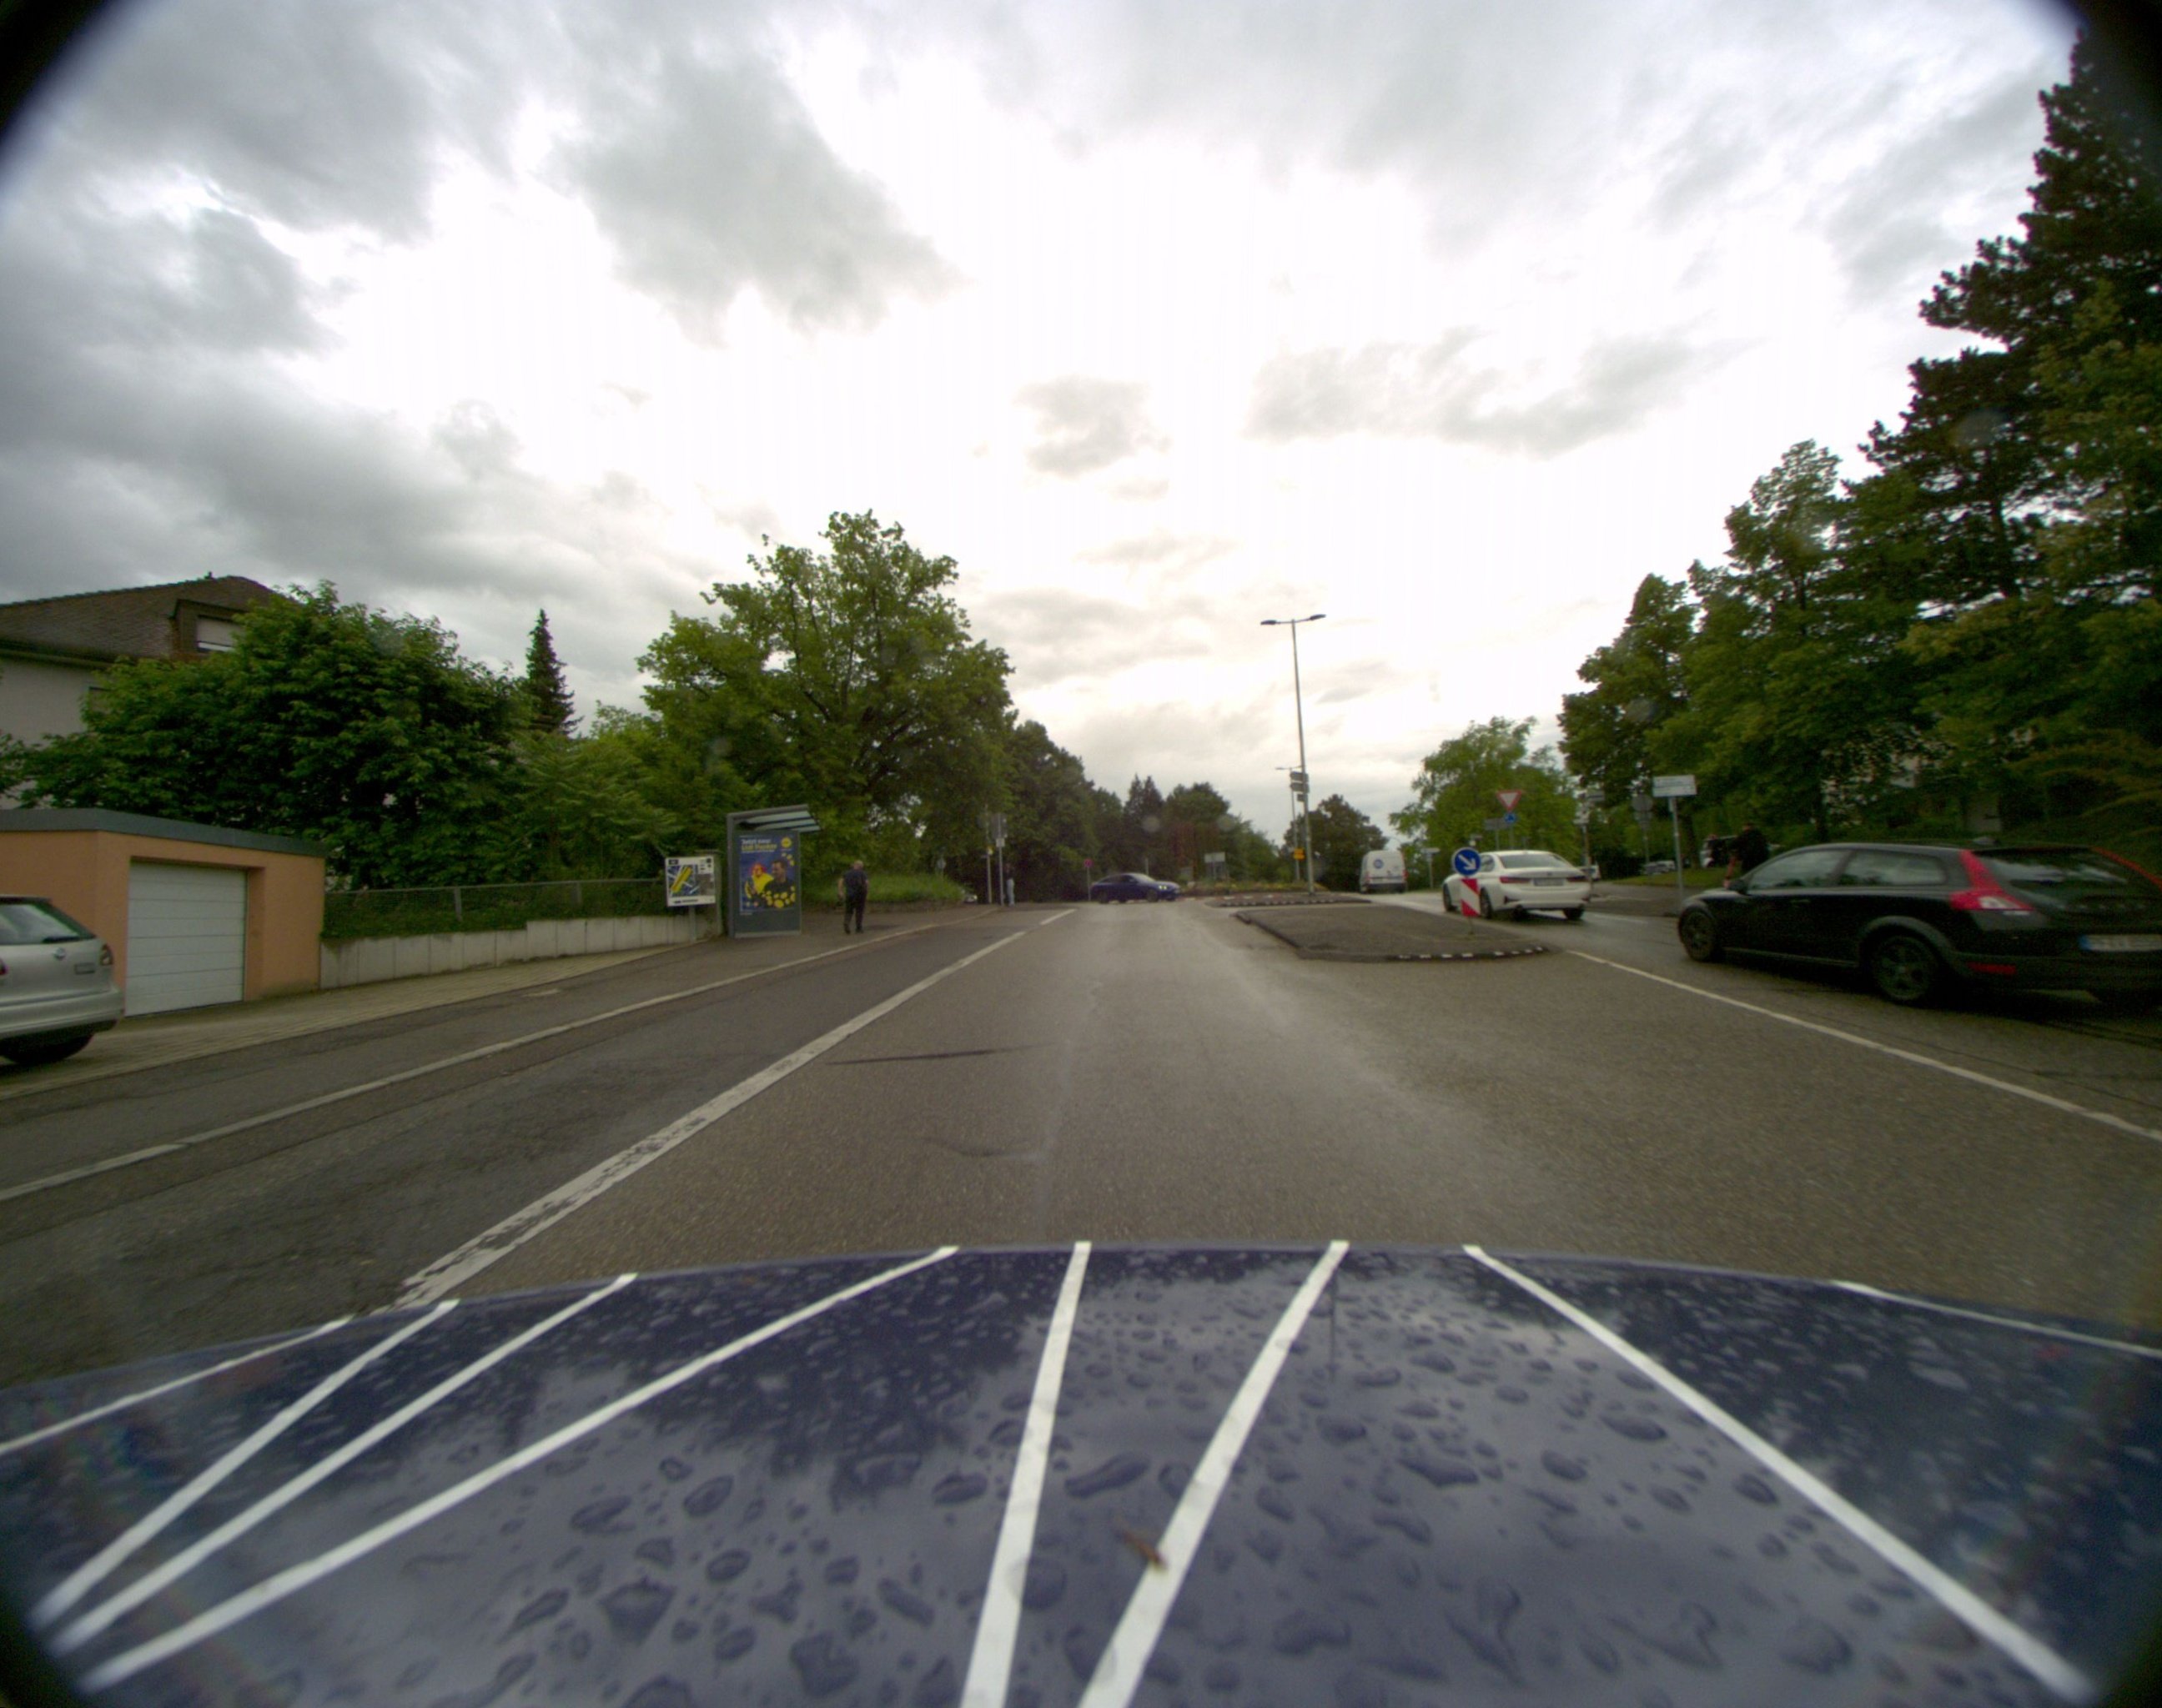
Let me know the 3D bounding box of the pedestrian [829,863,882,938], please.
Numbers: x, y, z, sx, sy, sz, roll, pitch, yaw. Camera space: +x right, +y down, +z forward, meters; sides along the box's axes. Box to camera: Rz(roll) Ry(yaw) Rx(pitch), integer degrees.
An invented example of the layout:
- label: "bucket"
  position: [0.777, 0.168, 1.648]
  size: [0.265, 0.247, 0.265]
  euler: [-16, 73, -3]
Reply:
- label: "pedestrian"
  position: [-5.150, 1.037, 17.434]
  size: [0.928, 1.645, 1.097]
  euler: [-2, -1, -6]

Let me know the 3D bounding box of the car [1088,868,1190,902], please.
- label: "car"
  position: [2.772, 1.532, 36.954]
  size: [4.659, 1.428, 1.767]
  euler: [-5, -3, 38]

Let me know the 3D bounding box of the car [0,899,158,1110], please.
- label: "car"
  position: [-10.200, 1.172, 5.671]
  size: [3.874, 1.556, 1.725]
  euler: [0, -1, -18]

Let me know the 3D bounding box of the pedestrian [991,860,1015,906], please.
- label: "pedestrian"
  position: [-3.026, 1.118, 29.499]
  size: [0.725, 1.722, 0.819]
  euler: [-2, 0, 4]

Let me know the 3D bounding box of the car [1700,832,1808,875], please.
- label: "car"
  position: [25.736, -0.005, 29.176]
  size: [2.816, 1.532, 1.701]
  euler: [-2, -1, 33]

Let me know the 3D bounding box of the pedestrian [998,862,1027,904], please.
- label: "pedestrian"
  position: [-2.750, 1.166, 30.368]
  size: [0.723, 1.645, 0.821]
  euler: [-2, -1, 42]

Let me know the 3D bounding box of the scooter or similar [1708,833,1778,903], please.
- label: "scooter or similar"
  position: [15.015, 0.322, 17.269]
  size: [0.510, 1.507, 1.319]
  euler: [-2, -1, 7]

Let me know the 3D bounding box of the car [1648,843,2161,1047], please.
- label: "car"
  position: [7.967, 0.641, 7.611]
  size: [1.794, 1.438, 4.405]
  euler: [-1, 0, 9]

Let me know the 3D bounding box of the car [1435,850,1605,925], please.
- label: "car"
  position: [9.514, 0.646, 16.964]
  size: [1.831, 1.393, 4.825]
  euler: [-2, 0, 12]

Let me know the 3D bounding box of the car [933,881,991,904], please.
- label: "car"
  position: [-8.198, 2.677, 52.218]
  size: [1.867, 1.406, 4.375]
  euler: [-1, -3, -41]

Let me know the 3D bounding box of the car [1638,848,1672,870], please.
- label: "car"
  position: [44.798, 0.390, 59.378]
  size: [1.693, 1.605, 4.346]
  euler: [-2, 0, 32]

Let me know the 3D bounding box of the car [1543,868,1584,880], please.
- label: "car"
  position: [56.725, 2.396, 89.317]
  size: [3.847, 1.302, 1.564]
  euler: [-3, -5, 41]

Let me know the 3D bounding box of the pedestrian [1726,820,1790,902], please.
- label: "pedestrian"
  position: [15.359, 0.169, 17.258]
  size: [0.704, 1.796, 0.826]
  euler: [-2, 0, 7]

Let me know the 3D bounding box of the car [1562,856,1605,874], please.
- label: "car"
  position: [70.724, 1.593, 106.988]
  size: [4.903, 2.286, 1.796]
  euler: [-3, -5, 41]

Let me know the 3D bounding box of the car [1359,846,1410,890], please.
- label: "car"
  position: [17.648, 0.899, 44.426]
  size: [2.170, 2.400, 5.405]
  euler: [-2, -3, 16]
